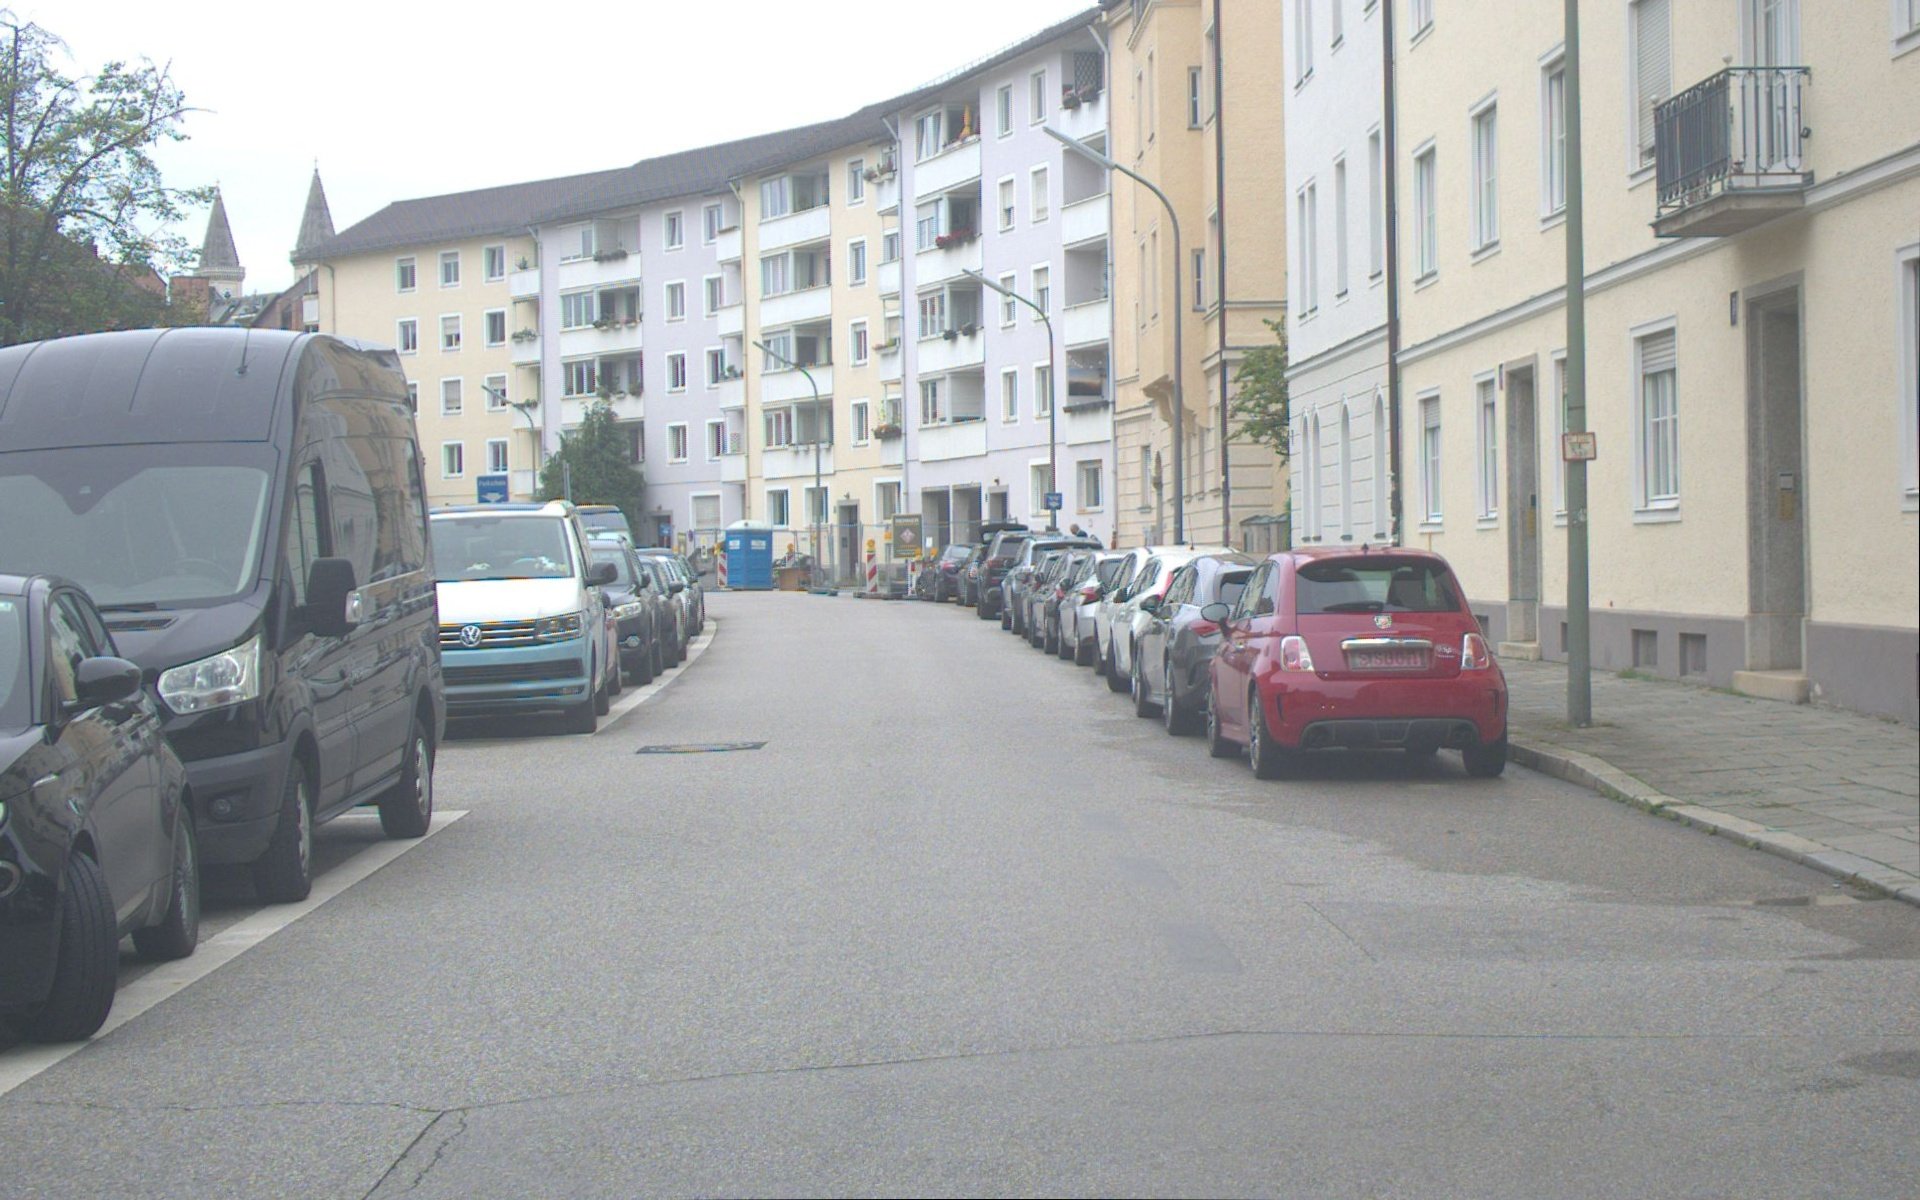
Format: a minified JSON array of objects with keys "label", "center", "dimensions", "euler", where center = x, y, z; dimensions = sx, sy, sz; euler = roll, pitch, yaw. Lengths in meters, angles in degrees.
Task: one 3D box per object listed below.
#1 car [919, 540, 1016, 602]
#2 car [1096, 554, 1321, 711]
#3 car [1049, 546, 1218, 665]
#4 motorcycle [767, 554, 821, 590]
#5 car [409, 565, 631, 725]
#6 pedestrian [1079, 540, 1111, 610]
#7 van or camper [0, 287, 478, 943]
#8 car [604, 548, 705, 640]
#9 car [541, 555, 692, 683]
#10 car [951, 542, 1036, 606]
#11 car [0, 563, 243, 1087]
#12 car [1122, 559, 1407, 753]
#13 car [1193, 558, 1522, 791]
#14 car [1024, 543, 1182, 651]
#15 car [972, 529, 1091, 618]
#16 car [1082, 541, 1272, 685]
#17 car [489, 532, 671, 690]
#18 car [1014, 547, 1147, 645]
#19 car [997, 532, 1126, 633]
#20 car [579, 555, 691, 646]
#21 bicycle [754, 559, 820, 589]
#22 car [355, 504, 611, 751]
[{"label":"car","center":[0.158,-0.741,85.743],"dimensions":[1.908,1.472,4.947],"euler":[0,1,-6]},{"label":"car","center":[2.388,0.274,33.984],"dimensions":[1.724,1.425,4.294],"euler":[0,1,-2]},{"label":"car","center":[2.180,0.035,44.233],"dimensions":[1.724,1.445,4.188],"euler":[0,1,-3]},{"label":"motorcycle","center":[-5.712,-0.958,117.991],"dimensions":[0.931,1.217,2.507],"euler":[-1,1,-26]},{"label":"car","center":[-4.395,0.417,34.848],"dimensions":[1.804,1.402,3.709],"euler":[-3,1,-2]},{"label":"pedestrian","center":[3.297,-0.613,84.051],"dimensions":[0.617,1.684,0.919],"euler":[-4,1,-2]},{"label":"van or camper","center":[-3.981,0.040,16.901],"dimensions":[2.293,2.642,5.561],"euler":[-3,1,0]},{"label":"car","center":[-5.438,-0.136,61.539],"dimensions":[1.630,1.489,4.276],"euler":[-3,1,-4]},{"label":"car","center":[-4.473,0.211,45.230],"dimensions":[1.631,1.489,3.820],"euler":[-3,1,-2]},{"label":"car","center":[0.752,-0.619,79.488],"dimensions":[1.630,1.412,3.680],"euler":[0,1,-5]},{"label":"car","center":[-3.605,0.669,11.880],"dimensions":[1.652,1.492,3.910],"euler":[-3,1,-4]},{"label":"car","center":[2.421,0.398,28.412],"dimensions":[1.773,1.425,4.616],"euler":[0,1,-2]},{"label":"car","center":[2.620,0.444,23.436],"dimensions":[1.654,1.425,3.756],"euler":[0,1,-2]},{"label":"car","center":[1.982,-0.075,49.016],"dimensions":[1.875,1.445,4.678],"euler":[0,1,-2]},{"label":"car","center":[1.398,-0.564,69.288],"dimensions":[2.169,1.733,5.024],"euler":[0,1,-2]},{"label":"car","center":[2.415,0.104,39.081],"dimensions":[1.650,1.538,3.994],"euler":[0,1,-4]},{"label":"car","center":[-4.386,0.081,40.190],"dimensions":[1.714,1.683,4.141],"euler":[-2,1,-2]},{"label":"car","center":[1.864,-0.091,54.172],"dimensions":[1.827,1.445,4.084],"euler":[0,1,-2]},{"label":"car","center":[1.696,-0.334,59.029],"dimensions":[1.846,1.658,4.499],"euler":[0,1,-3]},{"label":"car","center":[-5.332,-0.021,56.801],"dimensions":[1.740,1.417,4.295],"euler":[0,1,-4]},{"label":"bicycle","center":[-6.353,-0.962,126.001],"dimensions":[2.232,1.066,0.919],"euler":[-1,1,-25]},{"label":"car","center":[-4.048,0.166,29.862],"dimensions":[1.914,1.953,4.962],"euler":[0,1,-5]}]
